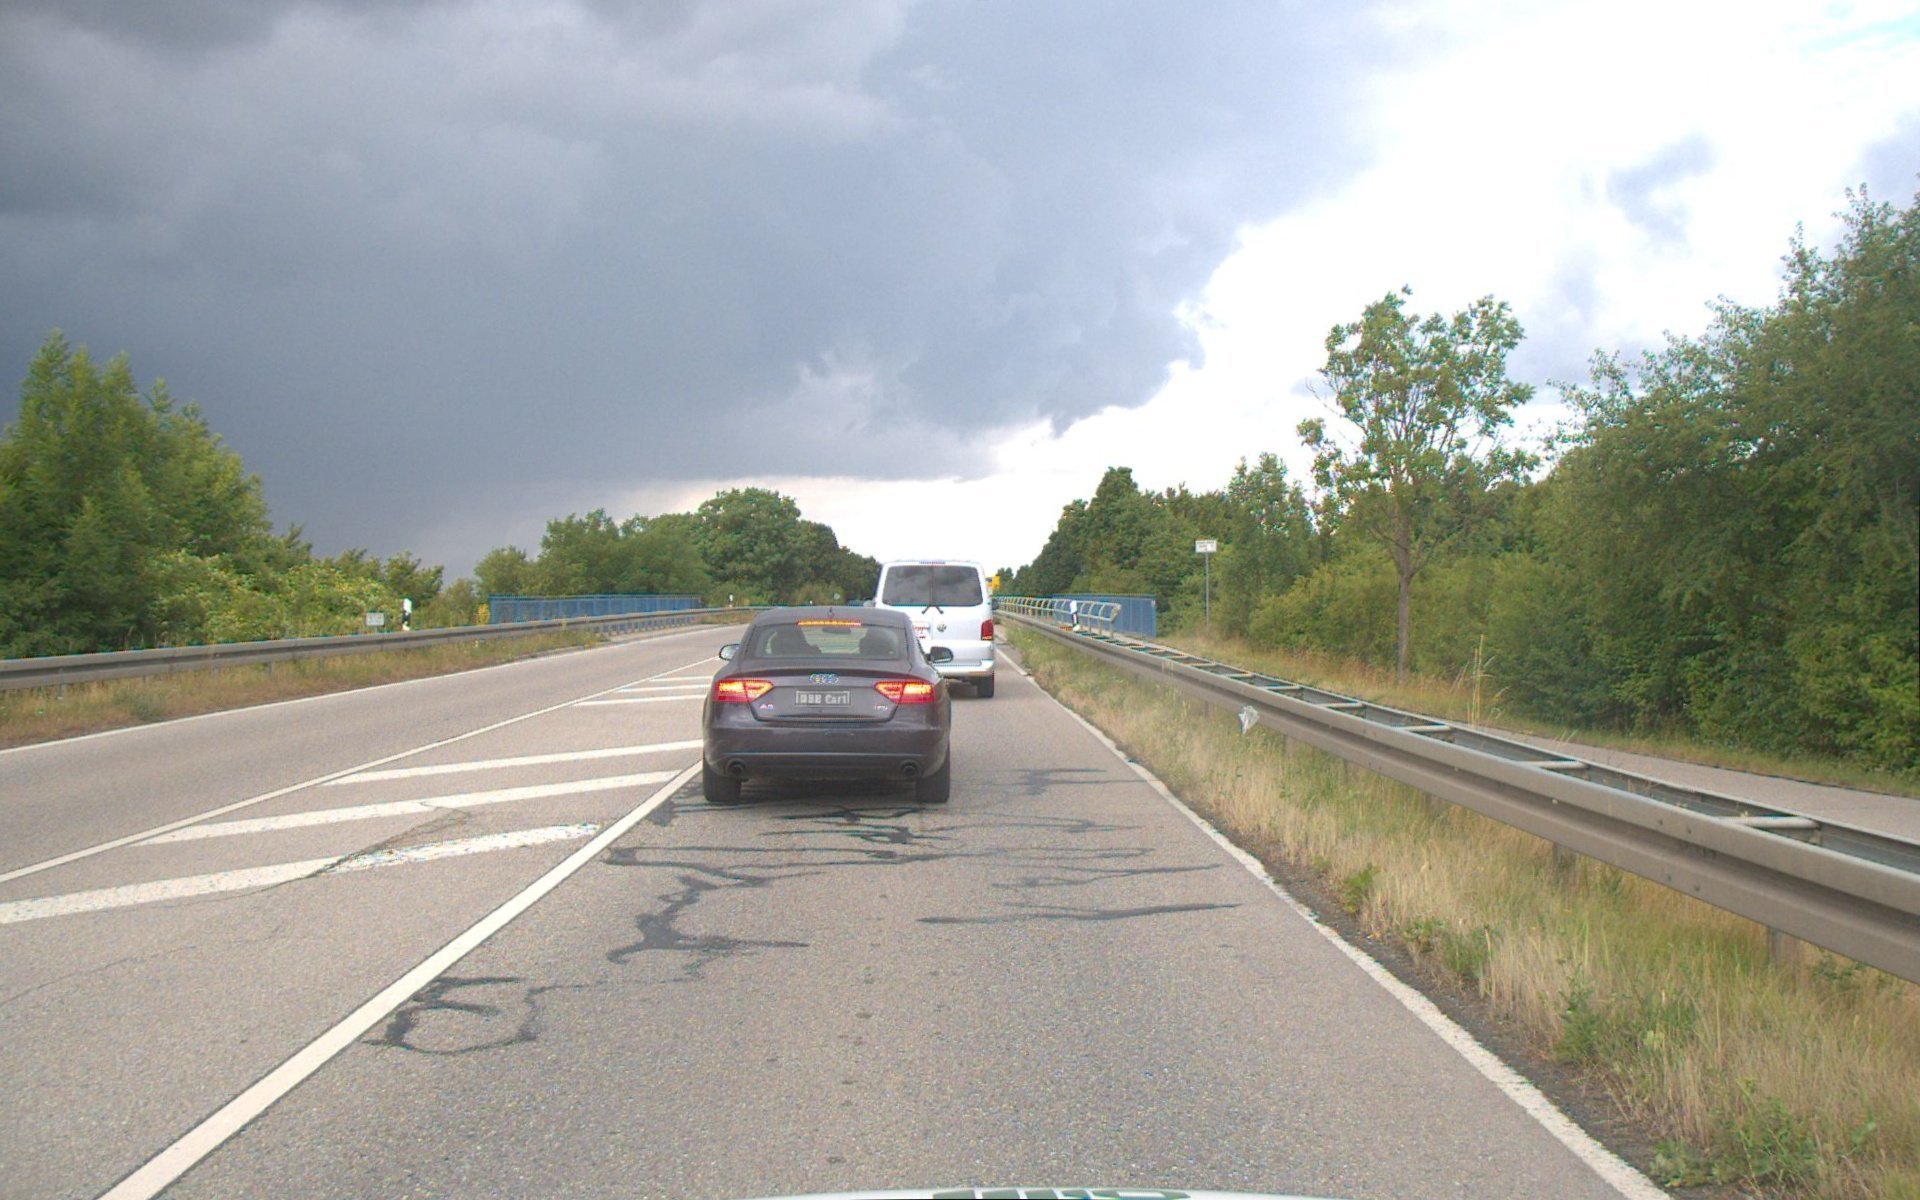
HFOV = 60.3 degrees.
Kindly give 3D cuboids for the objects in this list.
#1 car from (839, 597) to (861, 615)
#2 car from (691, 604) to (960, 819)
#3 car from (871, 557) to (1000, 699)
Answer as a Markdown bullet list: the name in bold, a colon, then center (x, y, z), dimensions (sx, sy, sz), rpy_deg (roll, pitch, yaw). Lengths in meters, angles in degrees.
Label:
- **car**: center (-9.355, 0.518, 140.813), dimensions (1.763, 1.475, 4.444), rpy_deg (-1, 0, -2)
- **car**: center (-0.929, 0.747, 13.088), dimensions (1.784, 1.405, 4.071), rpy_deg (-1, 0, -1)
- **car**: center (-0.373, 0.396, 25.150), dimensions (1.791, 1.969, 3.999), rpy_deg (-1, 0, -1)
